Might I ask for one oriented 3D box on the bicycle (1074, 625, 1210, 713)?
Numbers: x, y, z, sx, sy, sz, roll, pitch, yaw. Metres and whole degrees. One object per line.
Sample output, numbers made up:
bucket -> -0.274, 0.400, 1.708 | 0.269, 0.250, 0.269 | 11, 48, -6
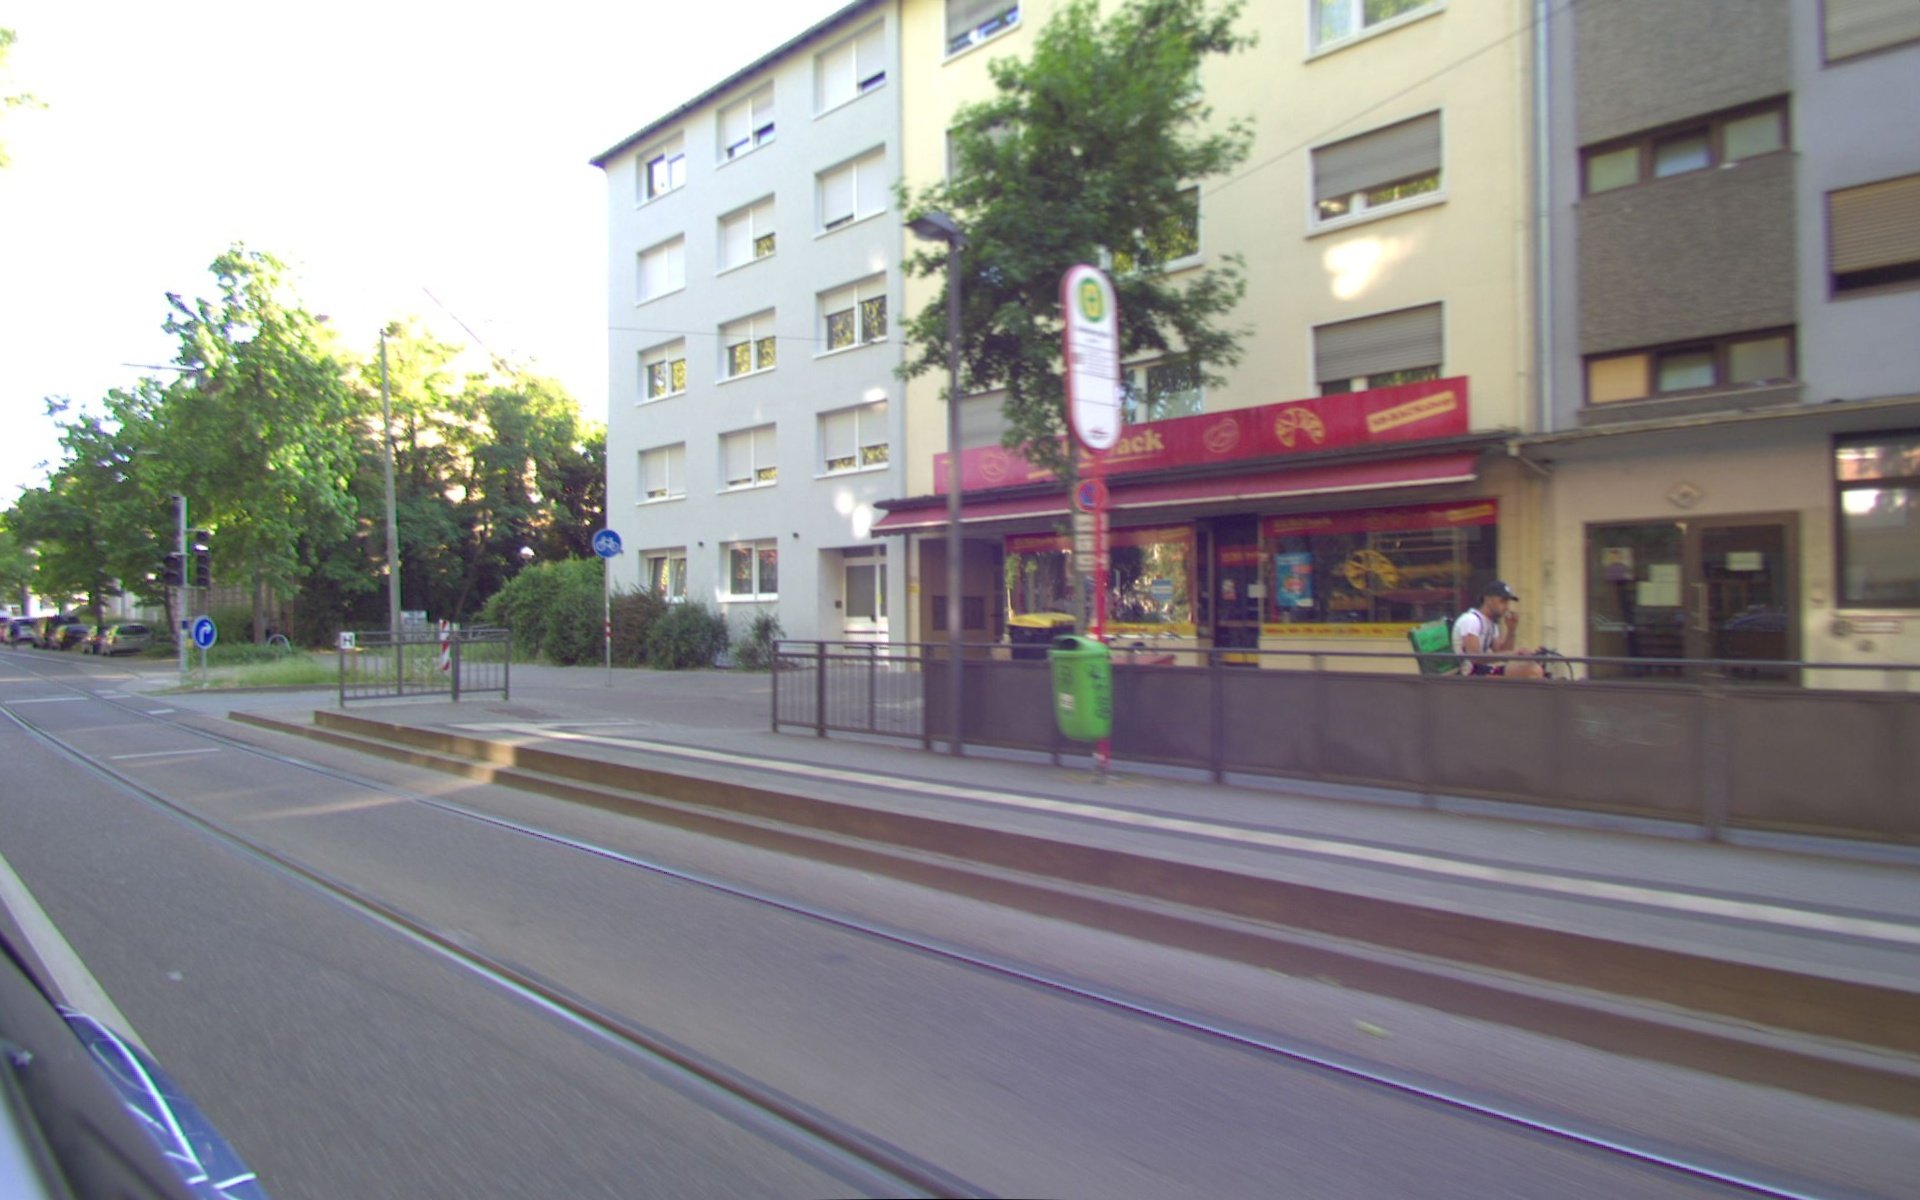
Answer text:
bicycle -> 2.493, 0.925, 14.010 | 1.798, 1.116, 0.494 | -1, 2, 39

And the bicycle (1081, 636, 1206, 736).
bicycle -> 2.342, 1.046, 12.802 | 0.885, 1.083, 1.518 | -2, 1, 40

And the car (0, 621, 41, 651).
car -> -65.254, 2.461, 70.156 | 4.986, 2.004, 1.824 | -2, -2, 42

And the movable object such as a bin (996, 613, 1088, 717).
movable object such as a bin -> 1.202, 0.913, 14.657 | 0.782, 1.358, 1.159 | -2, 2, 37

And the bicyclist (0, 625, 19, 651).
bicyclist -> -54.206, 2.171, 57.710 | 0.836, 1.466, 0.634 | -1, -4, 40

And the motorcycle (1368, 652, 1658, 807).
motorcycle -> 4.214, 0.936, 7.821 | 1.877, 1.040, 0.589 | -2, -4, 42

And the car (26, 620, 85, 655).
car -> -54.336, 2.208, 60.768 | 4.830, 2.029, 1.973 | -2, -2, 40

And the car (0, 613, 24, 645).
car -> -76.345, 2.308, 80.310 | 5.338, 2.527, 2.281 | -2, -2, 40

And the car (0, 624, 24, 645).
car -> -72.491, 2.582, 76.873 | 3.705, 1.551, 1.667 | -2, -2, 41

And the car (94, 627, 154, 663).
car -> -38.973, 2.055, 47.120 | 4.537, 1.562, 1.680 | -2, -1, 44

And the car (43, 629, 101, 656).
car -> -50.496, 2.403, 57.525 | 4.266, 1.469, 1.834 | -2, -2, 40

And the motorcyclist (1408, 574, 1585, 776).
motorcyclist -> 4.170, 0.562, 7.896 | 1.103, 1.460, 0.589 | -2, -4, 42

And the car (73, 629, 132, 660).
car -> -42.766, 2.193, 50.458 | 3.946, 1.456, 1.641 | -2, -1, 41

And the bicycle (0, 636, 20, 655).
bicycle -> -54.083, 2.584, 57.565 | 2.099, 0.994, 0.634 | -1, -4, 40

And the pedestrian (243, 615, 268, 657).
pedestrian -> -31.668, 1.602, 45.504 | 0.728, 1.861, 0.734 | -2, 0, 39
